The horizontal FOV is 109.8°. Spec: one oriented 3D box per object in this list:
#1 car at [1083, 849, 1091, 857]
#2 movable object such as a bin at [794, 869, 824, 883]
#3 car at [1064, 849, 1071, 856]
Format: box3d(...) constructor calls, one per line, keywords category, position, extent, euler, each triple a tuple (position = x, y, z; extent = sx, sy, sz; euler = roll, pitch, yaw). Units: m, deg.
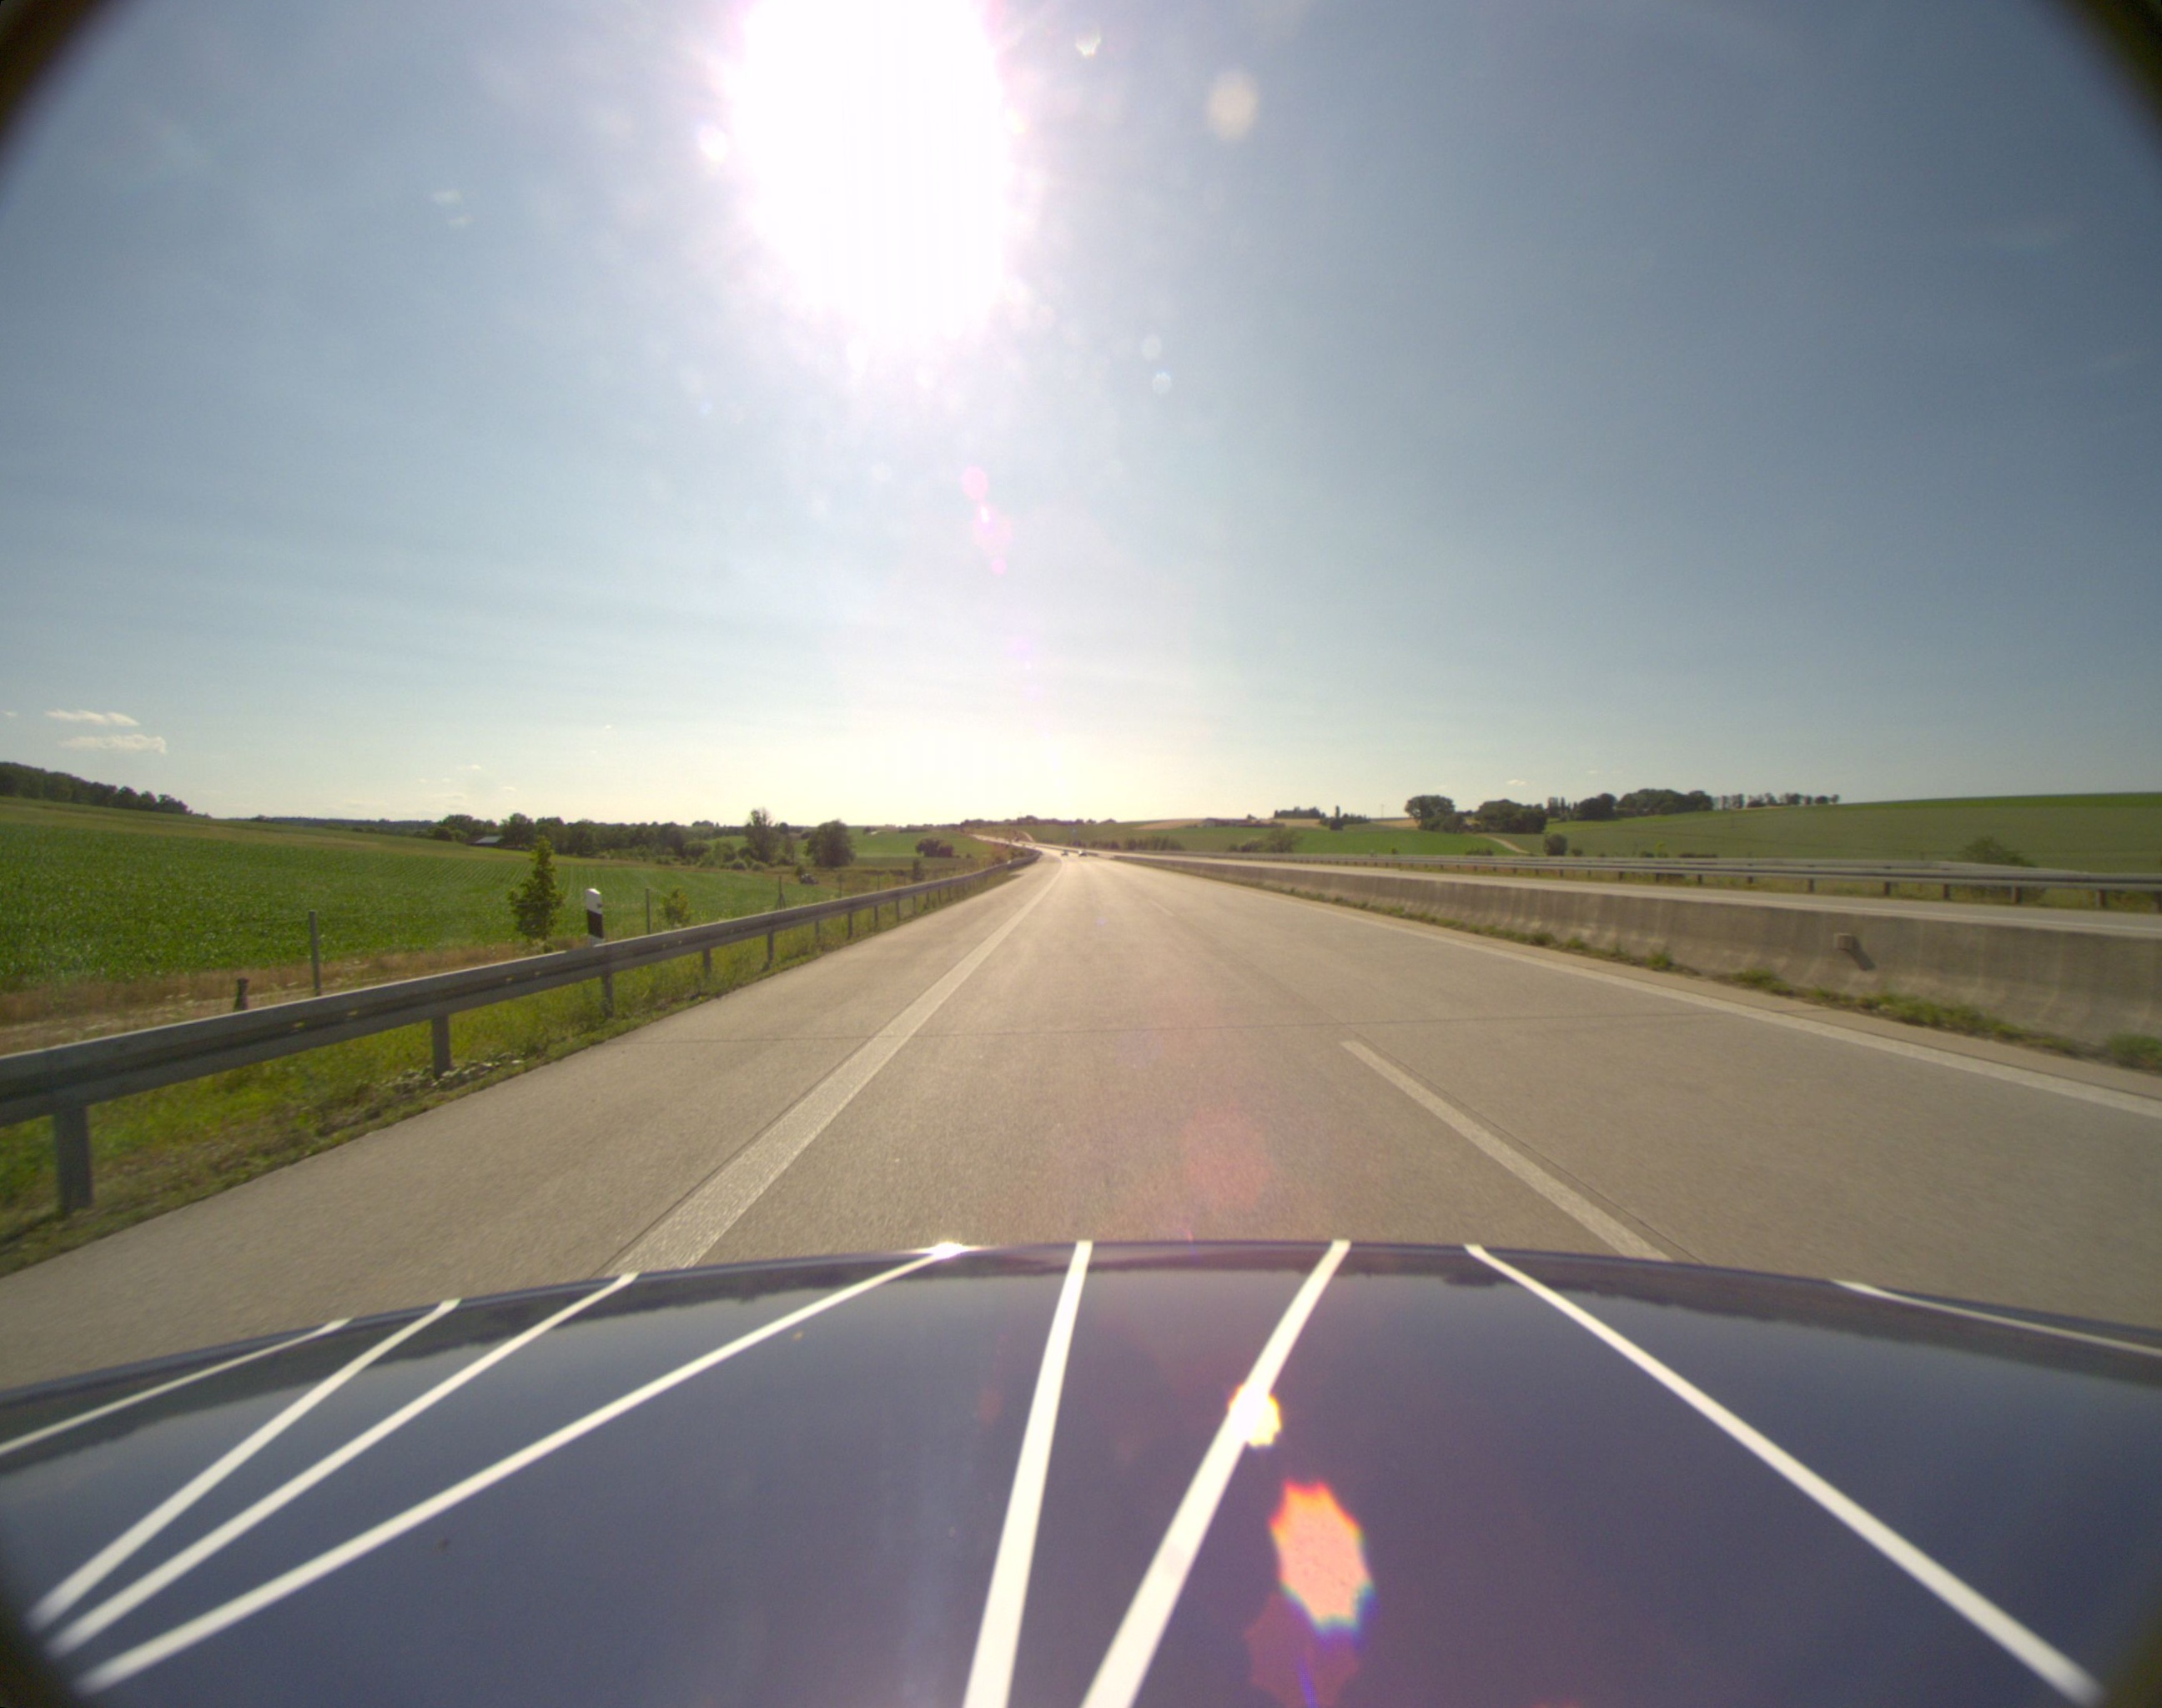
box3d(category="car", position=(1.397, -0.232, 177.241), extent=(1.715, 1.581, 4.625), euler=(-2, 2, 1))
box3d(category="movable object such as a bin", position=(-61.741, 4.965, 172.386), extent=(6.214, 2.756, 3.292), euler=(0, 3, 37))
box3d(category="car", position=(-3.547, -0.408, 200.536), extent=(1.715, 1.581, 4.624), euler=(-2, 2, -2))
